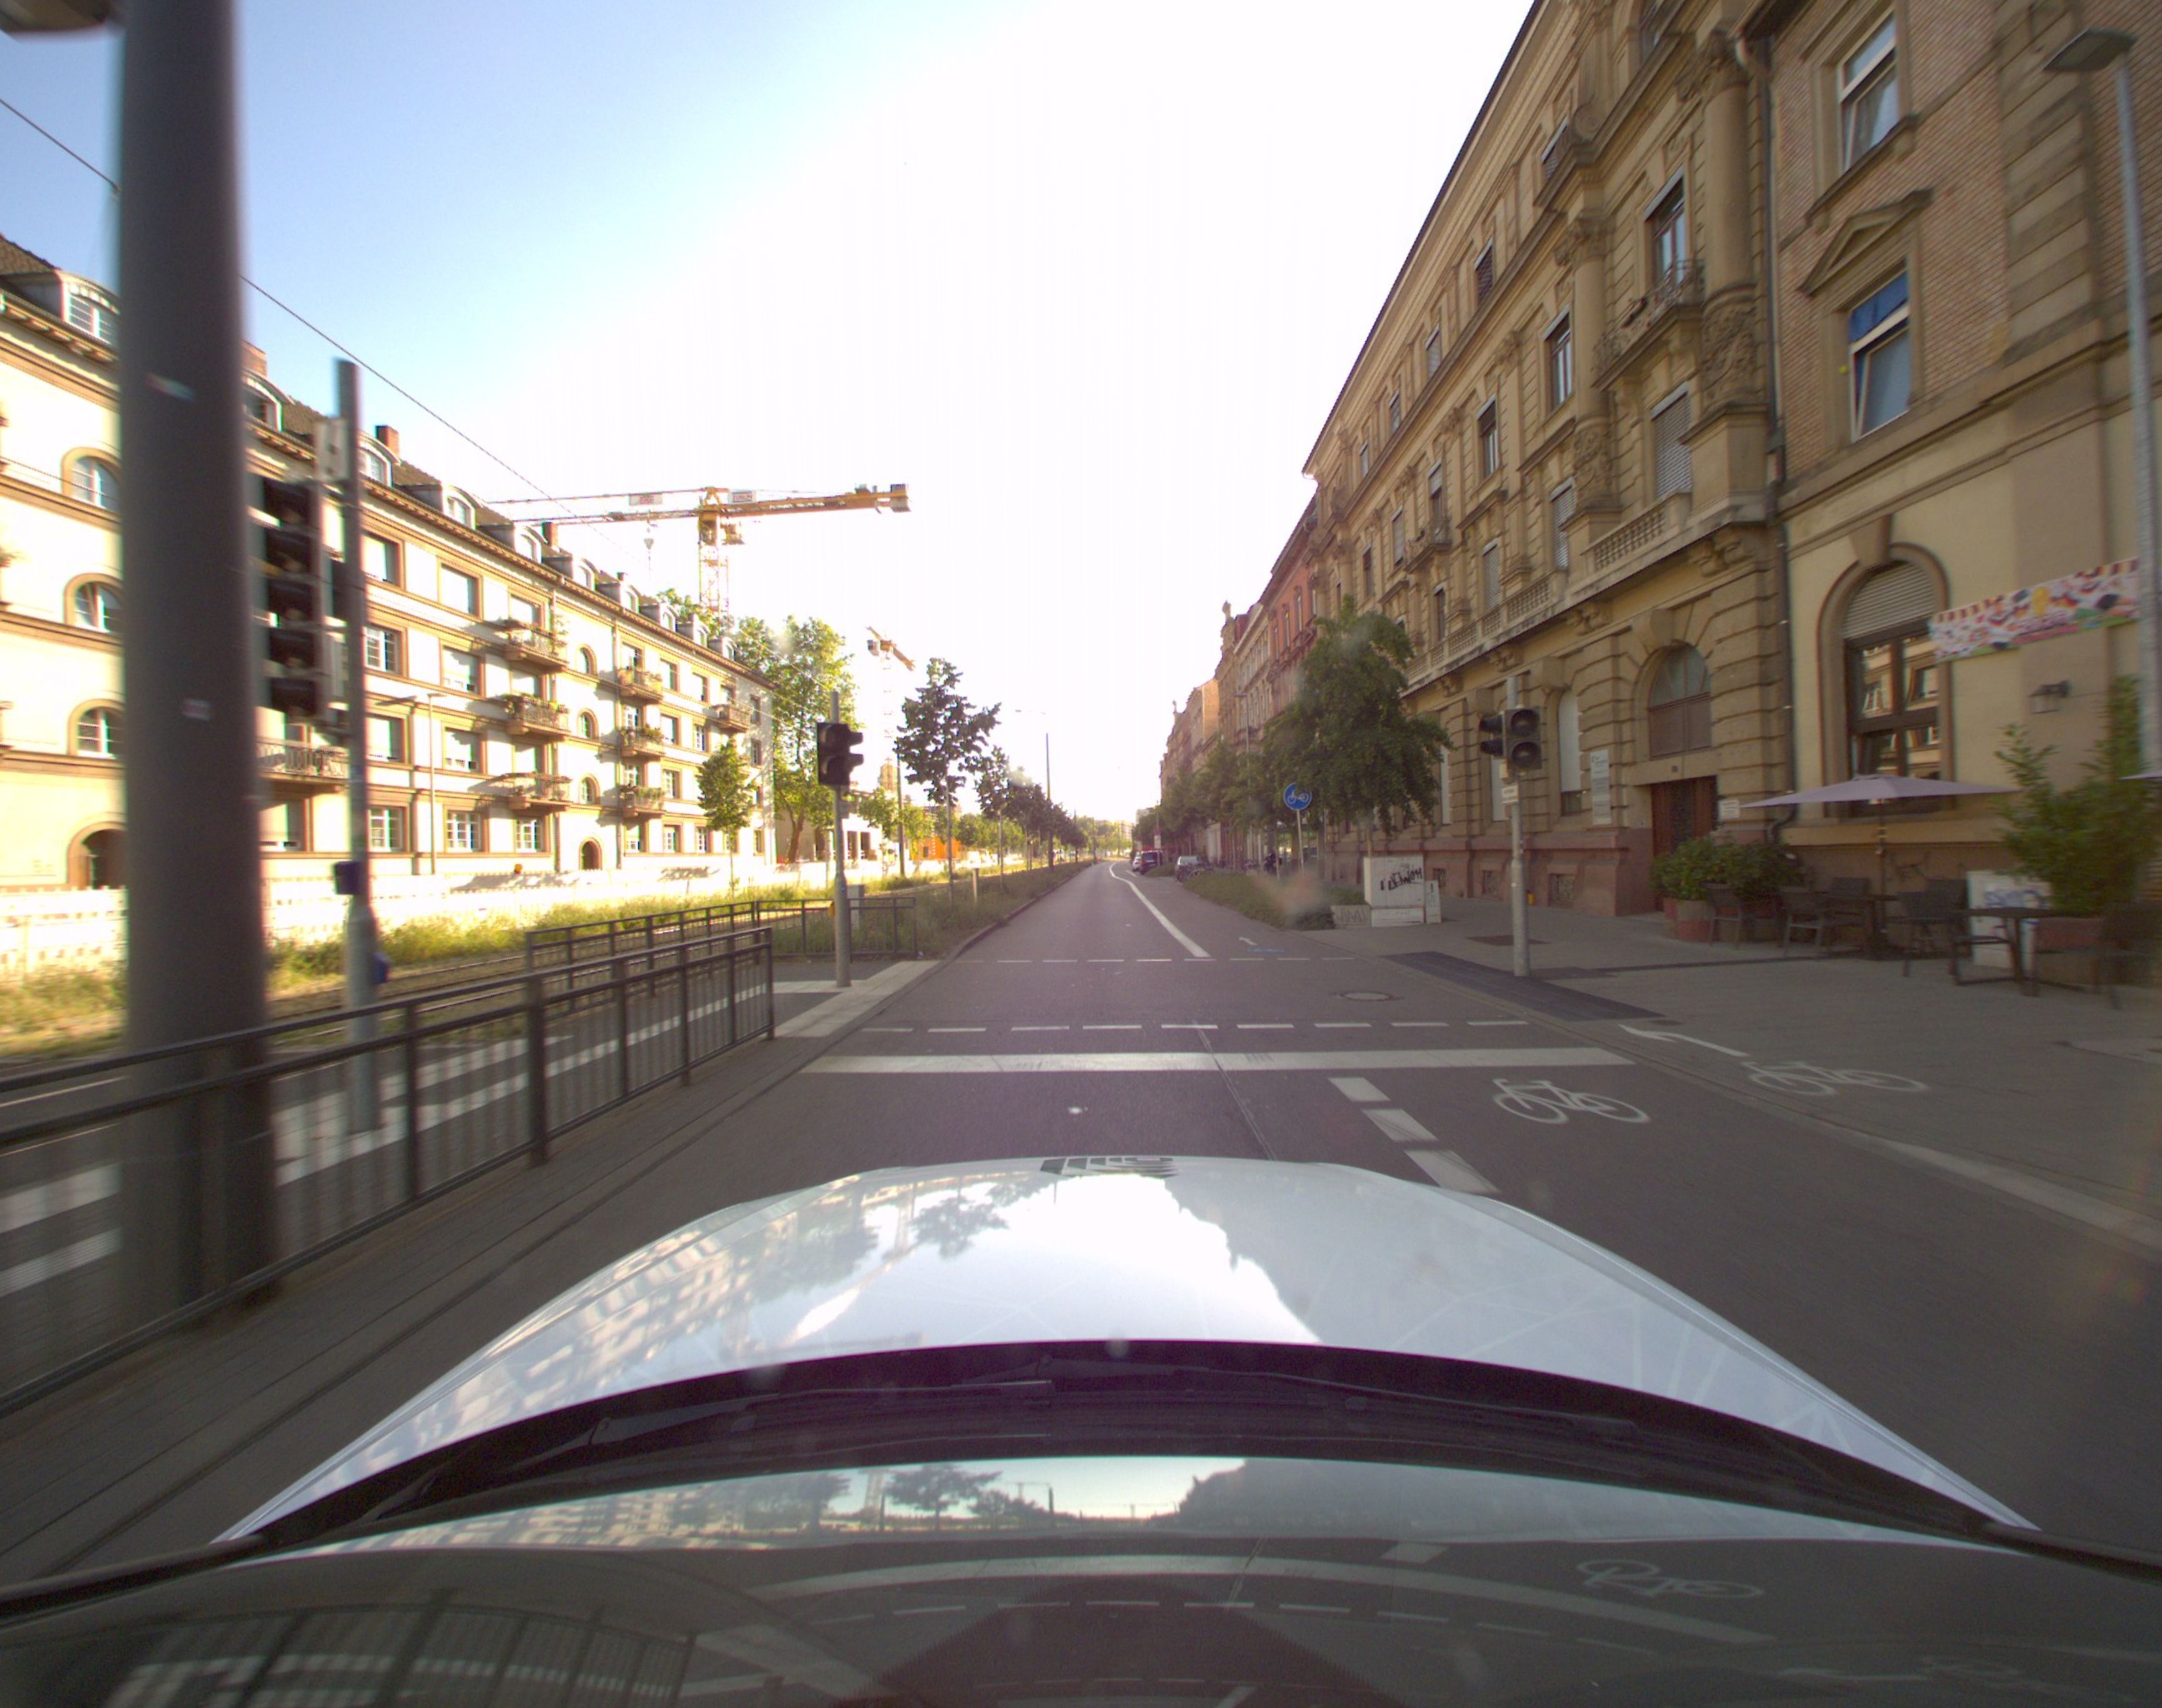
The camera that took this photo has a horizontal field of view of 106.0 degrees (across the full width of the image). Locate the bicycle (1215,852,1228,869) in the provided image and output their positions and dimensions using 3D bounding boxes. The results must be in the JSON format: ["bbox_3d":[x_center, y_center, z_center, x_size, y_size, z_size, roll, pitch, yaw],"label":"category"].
[{"bbox_3d":[12.187,0.531,70.683,0.658,1.402,2.353,-2,1,1],"label":"bicycle"}]

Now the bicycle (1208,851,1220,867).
[{"bbox_3d":[12.274,0.473,75.146,0.658,1.402,2.353,-2,1,1],"label":"bicycle"}]

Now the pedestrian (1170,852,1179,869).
[{"bbox_3d":[8.327,0.567,72.520,0.623,1.460,0.638,-2,0,1],"label":"pedestrian"}]

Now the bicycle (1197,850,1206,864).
[{"bbox_3d":[12.771,0.316,86.521,0.658,1.402,2.353,-2,1,1],"label":"bicycle"}]

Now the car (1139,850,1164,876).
[{"bbox_3d":[5.880,0.729,68.627,1.877,1.937,4.477,-2,1,3],"label":"car"}]

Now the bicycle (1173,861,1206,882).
[{"bbox_3d":[6.021,0.975,45.267,1.685,1.048,0.490,-4,0,1],"label":"bicycle"}]

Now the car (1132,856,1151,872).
[{"bbox_3d":[6.052,1.011,81.979,1.842,1.457,4.160,-2,1,3],"label":"car"}]

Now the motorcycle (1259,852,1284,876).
[{"bbox_3d":[10.935,0.555,46.840,0.792,1.308,2.853,-4,1,1],"label":"motorcycle"}]

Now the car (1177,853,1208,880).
[{"bbox_3d":[7.127,0.789,52.192,1.630,1.486,4.217,-4,1,4],"label":"car"}]

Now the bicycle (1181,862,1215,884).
[{"bbox_3d":[6.278,0.998,43.583,1.689,1.048,0.488,-4,0,-7],"label":"bicycle"}]

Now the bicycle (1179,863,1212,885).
[{"bbox_3d":[5.922,1.027,42.298,1.574,1.048,0.488,-4,0,-7],"label":"bicycle"}]

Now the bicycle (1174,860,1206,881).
[{"bbox_3d":[6.223,0.937,46.596,1.685,1.048,0.490,-5,0,1],"label":"bicycle"}]

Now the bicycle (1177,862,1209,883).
[{"bbox_3d":[6.060,0.999,44.124,1.574,1.048,0.488,-4,0,-7],"label":"bicycle"}]
